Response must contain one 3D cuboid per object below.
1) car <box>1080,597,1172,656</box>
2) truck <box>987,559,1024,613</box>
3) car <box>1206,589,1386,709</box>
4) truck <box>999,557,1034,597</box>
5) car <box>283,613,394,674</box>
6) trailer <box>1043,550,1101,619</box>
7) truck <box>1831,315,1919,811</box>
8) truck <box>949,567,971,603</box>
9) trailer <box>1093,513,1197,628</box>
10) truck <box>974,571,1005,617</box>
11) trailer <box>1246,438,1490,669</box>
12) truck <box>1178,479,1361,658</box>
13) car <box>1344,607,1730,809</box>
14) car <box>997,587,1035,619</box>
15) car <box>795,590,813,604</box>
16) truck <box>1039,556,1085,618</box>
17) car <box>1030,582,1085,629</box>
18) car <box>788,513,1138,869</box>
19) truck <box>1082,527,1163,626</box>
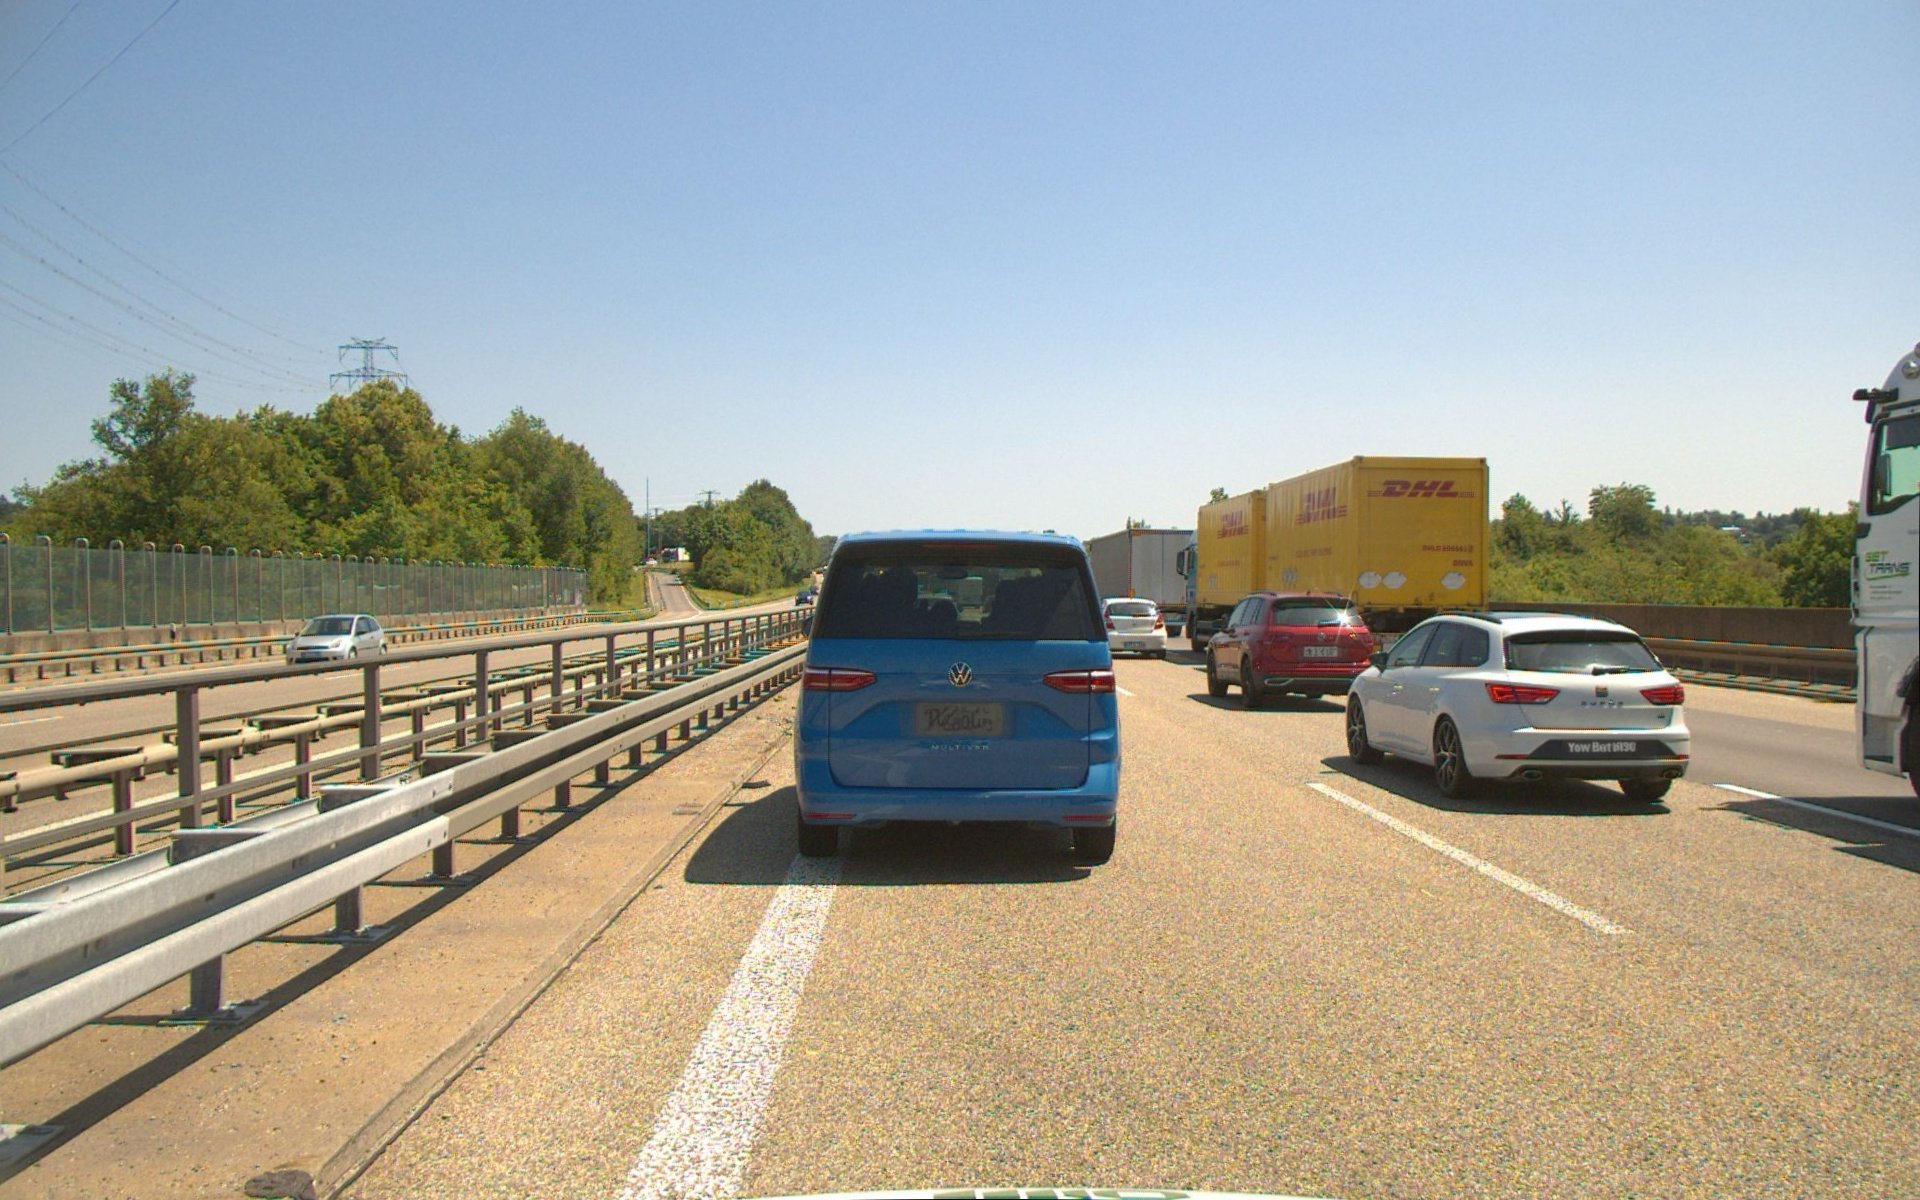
[{"bbox_3d":[4.212,0.637,42.418,1.801,1.438,3.998,0,0,-3],"label":"car"},{"bbox_3d":[4.487,-1.327,165.018,2.777,5.128,11.140,1,-1,-2],"label":"truck"},{"bbox_3d":[4.900,0.661,24.665,1.813,1.636,3.999,0,0,-1],"label":"car"},{"bbox_3d":[4.933,-1.978,145.604,2.308,3.275,9.735,1,0,-2],"label":"truck"},{"bbox_3d":[-16.588,1.131,44.318,1.572,1.418,3.676,-2,0,-1],"label":"car"},{"bbox_3d":[6.525,-0.822,97.984,2.331,3.809,11.184,1,0,-1],"label":"trailer"},{"bbox_3d":[8.550,-0.282,8.039,2.793,3.666,10.766,1,0,-1],"label":"truck"},{"bbox_3d":[-0.022,-2.321,262.324,2.777,5.467,12.548,1,-1,-2],"label":"truck"},{"bbox_3d":[7.307,-1.039,66.902,2.699,4.219,11.308,1,0,-1],"label":"trailer"},{"bbox_3d":[3.377,-0.614,192.274,2.777,5.128,11.810,1,-1,-2],"label":"truck"},{"bbox_3d":[8.105,-0.804,34.178,2.647,4.094,8.928,1,-1,-1],"label":"trailer"},{"bbox_3d":[7.925,-0.701,43.822,2.667,4.125,10.333,1,-1,-1],"label":"truck"},{"bbox_3d":[4.635,0.786,13.969,1.745,1.411,4.187,0,0,-1],"label":"car"},{"bbox_3d":[2.839,0.154,84.493,1.680,1.567,3.820,-1,0,-1],"label":"car"},{"bbox_3d":[-17.996,-0.334,190.844,1.744,1.596,4.385,-2,0,-1],"label":"car"},{"bbox_3d":[6.370,-0.773,104.071,2.320,3.787,6.031,1,-1,-2],"label":"truck"},{"bbox_3d":[3.540,0.195,60.349,1.680,1.614,3.820,-1,0,-1],"label":"car"},{"bbox_3d":[-0.013,0.480,10.739,1.844,1.869,3.999,0,0,-1],"label":"car"},{"bbox_3d":[7.151,-0.968,73.603,2.712,4.167,6.982,1,-1,-1],"label":"truck"}]
